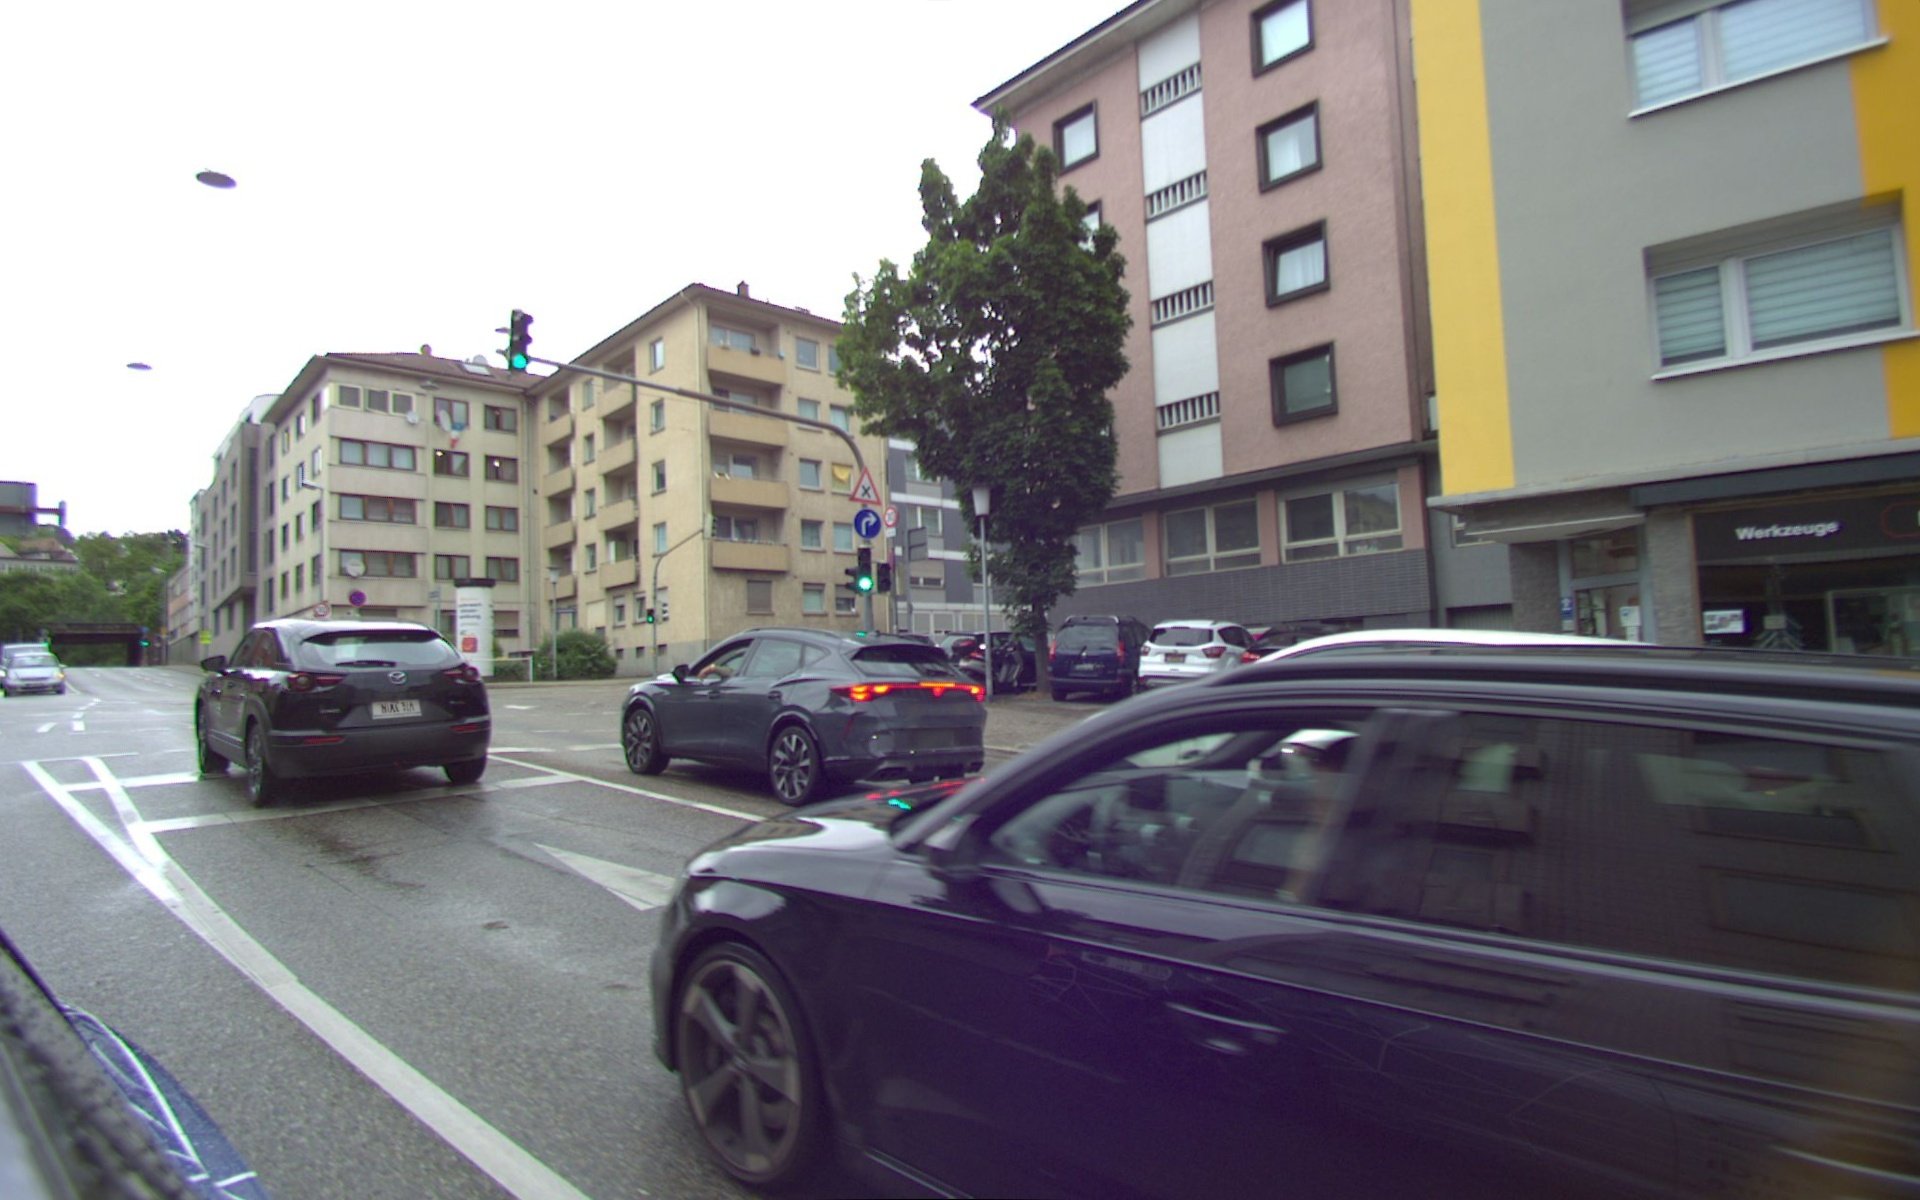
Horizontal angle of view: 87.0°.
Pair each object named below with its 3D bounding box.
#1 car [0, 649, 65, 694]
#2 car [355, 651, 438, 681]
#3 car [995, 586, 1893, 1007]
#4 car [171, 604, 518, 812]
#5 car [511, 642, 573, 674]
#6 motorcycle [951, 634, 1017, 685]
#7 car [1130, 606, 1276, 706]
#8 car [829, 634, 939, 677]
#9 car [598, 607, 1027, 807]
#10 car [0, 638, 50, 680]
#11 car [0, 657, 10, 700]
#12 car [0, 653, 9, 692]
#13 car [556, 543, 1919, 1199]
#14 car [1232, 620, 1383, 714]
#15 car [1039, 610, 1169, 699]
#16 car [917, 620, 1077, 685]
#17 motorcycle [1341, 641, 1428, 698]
[{"bbox_3d":[-35.397,2.728,38.623,1.813,1.566,4.004,0,-3,-42],"label":"car"},{"bbox_3d":[-27.045,3.157,48.641,3.214,1.201,1.383,-1,-4,-44],"label":"car"},{"bbox_3d":[2.433,0.845,5.943,4.380,1.554,1.786,-4,-4,44],"label":"car"},{"bbox_3d":[-6.059,0.831,9.718,4.380,1.548,1.798,0,-1,44],"label":"car"},{"bbox_3d":[-21.100,2.893,51.082,1.740,1.485,3.327,0,-2,-45],"label":"car"},{"bbox_3d":[0.548,1.277,22.031,0.453,1.040,1.772,-3,-2,37],"label":"motorcycle"},{"bbox_3d":[5.027,1.045,20.578,1.854,1.807,3.959,0,-1,30],"label":"car"},{"bbox_3d":[-2.845,2.084,38.453,1.734,1.492,4.012,-6,-6,45],"label":"car"},{"bbox_3d":[-1.615,0.921,9.741,4.380,1.489,1.798,-4,-4,44],"label":"car"},{"bbox_3d":[-49.005,3.101,52.972,1.913,1.930,4.861,-1,-4,-41],"label":"car"},{"bbox_3d":[-43.609,3.566,45.109,1.768,1.741,4.003,-1,-5,-44],"label":"car"},{"bbox_3d":[-40.267,2.997,41.468,1.813,1.566,4.004,0,-3,-42],"label":"car"},{"bbox_3d":[0.928,0.685,2.400,4.378,1.425,1.787,-1,-2,43],"label":"car"},{"bbox_3d":[6.613,1.157,19.011,1.855,1.507,3.956,0,-1,32],"label":"car"},{"bbox_3d":[3.280,1.112,22.303,1.762,1.741,4.312,0,-1,23],"label":"car"},{"bbox_3d":[0.976,1.240,24.797,1.738,1.370,3.942,-2,-1,44],"label":"car"},{"bbox_3d":[8.948,1.466,21.360,1.524,1.098,0.478,-7,-5,40],"label":"motorcycle"}]
